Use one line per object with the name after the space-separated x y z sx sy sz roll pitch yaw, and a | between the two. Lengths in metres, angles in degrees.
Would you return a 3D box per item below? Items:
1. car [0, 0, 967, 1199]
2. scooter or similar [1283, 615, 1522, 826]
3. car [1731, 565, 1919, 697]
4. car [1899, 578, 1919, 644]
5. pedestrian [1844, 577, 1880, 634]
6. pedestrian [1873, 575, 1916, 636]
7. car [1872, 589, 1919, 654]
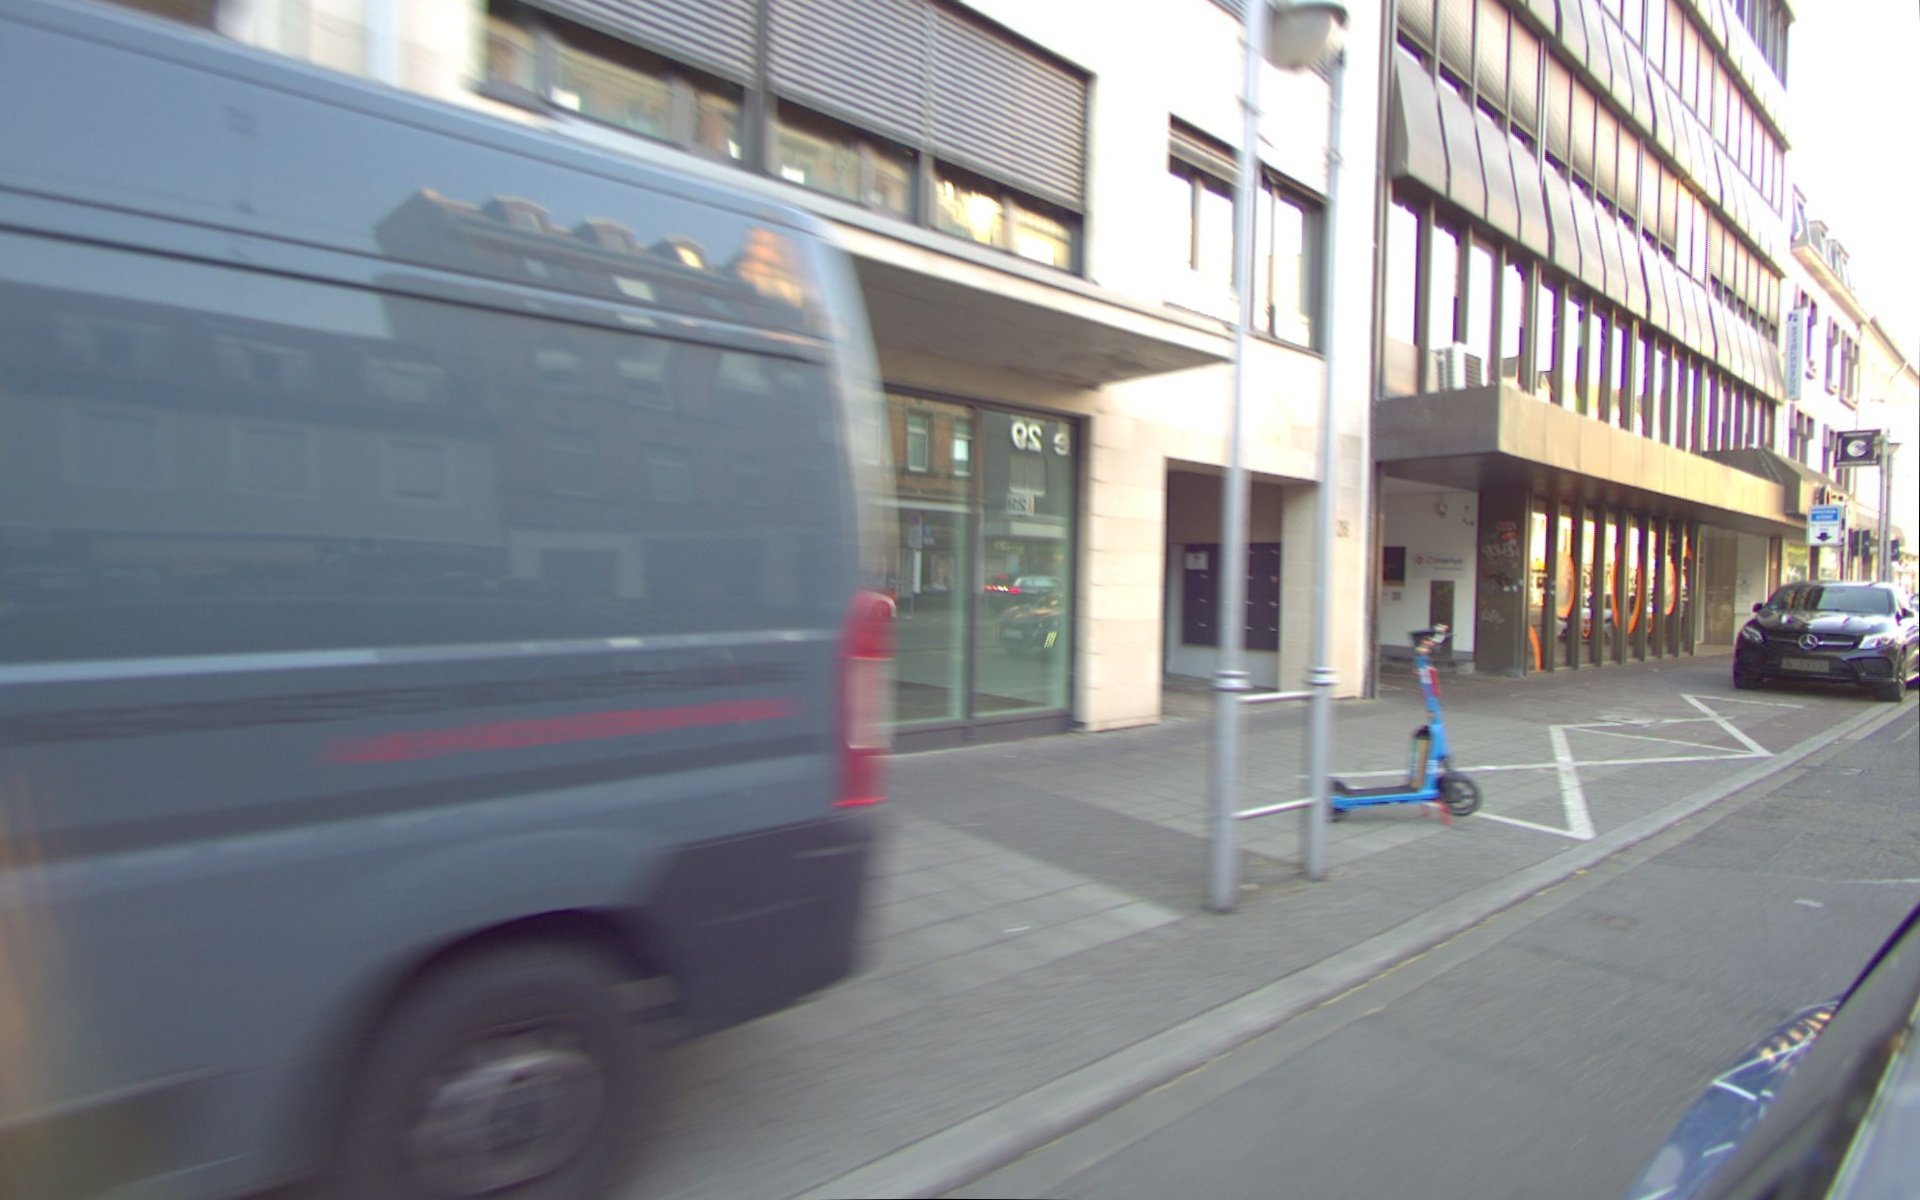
-2.923 0.092 1.600 5.927 2.485 2.097 0 3 -41 | car
2.744 0.734 6.338 1.240 1.235 0.500 1 1 -3 | scooter or similar
14.000 0.388 15.950 4.485 1.748 1.998 0 2 -41 | car
27.632 0.324 27.907 4.496 1.748 1.998 0 3 -41 | car
28.343 0.162 31.815 0.666 1.739 0.651 0 3 -40 | pedestrian
29.119 0.162 31.536 0.911 1.828 0.768 0 3 -39 | pedestrian
23.183 0.509 23.986 3.818 1.451 1.799 0 2 -40 | car
